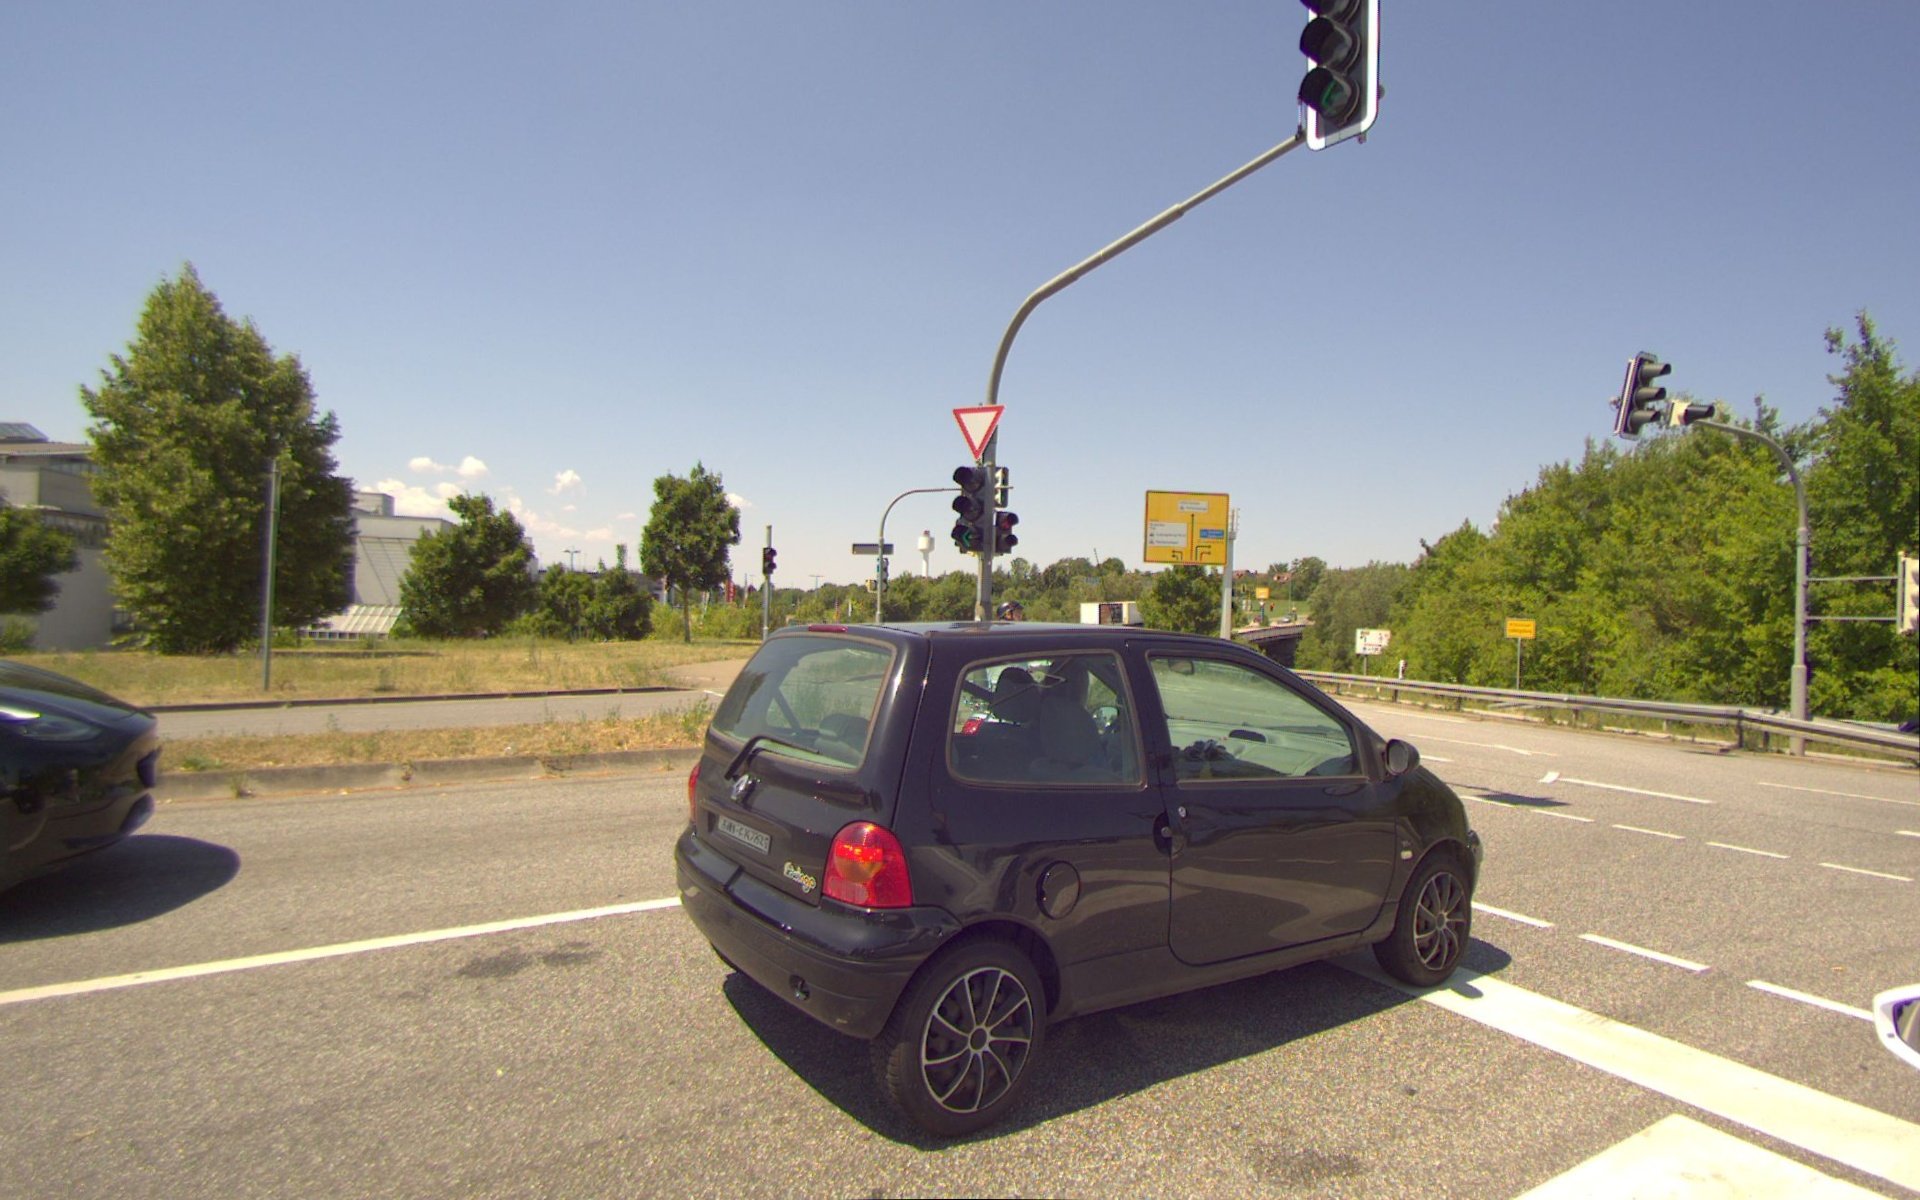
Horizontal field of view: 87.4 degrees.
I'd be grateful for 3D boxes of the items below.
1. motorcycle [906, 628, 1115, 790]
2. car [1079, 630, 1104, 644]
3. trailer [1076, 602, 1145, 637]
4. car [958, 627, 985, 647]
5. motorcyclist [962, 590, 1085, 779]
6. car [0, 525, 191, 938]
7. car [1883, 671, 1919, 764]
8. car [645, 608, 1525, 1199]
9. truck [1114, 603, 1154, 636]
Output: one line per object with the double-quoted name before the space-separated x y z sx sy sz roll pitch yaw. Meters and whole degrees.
"motorcycle" 0.487 0.911 8.794 1.926 1.255 0.571 4 -1 -41
"car" 15.627 4.370 119.100 1.778 1.452 3.926 4 -2 26
"trailer" 20.117 2.557 132.870 3.186 4.305 15.370 2 0 32
"car" 0.948 2.855 77.590 1.614 1.413 3.994 5 -2 6
"motorcyclist" 0.565 0.718 8.855 0.840 1.560 0.606 3 -1 -41
"car" -5.698 0.451 3.680 4.463 1.622 1.862 2 0 -36
"car" 18.771 2.220 17.000 1.873 1.653 4.264 5 -2 -14
"car" 0.621 0.801 4.046 3.267 1.426 1.609 2 -1 -35
"truck" 24.172 2.659 139.335 3.186 4.305 6.222 2 0 32
